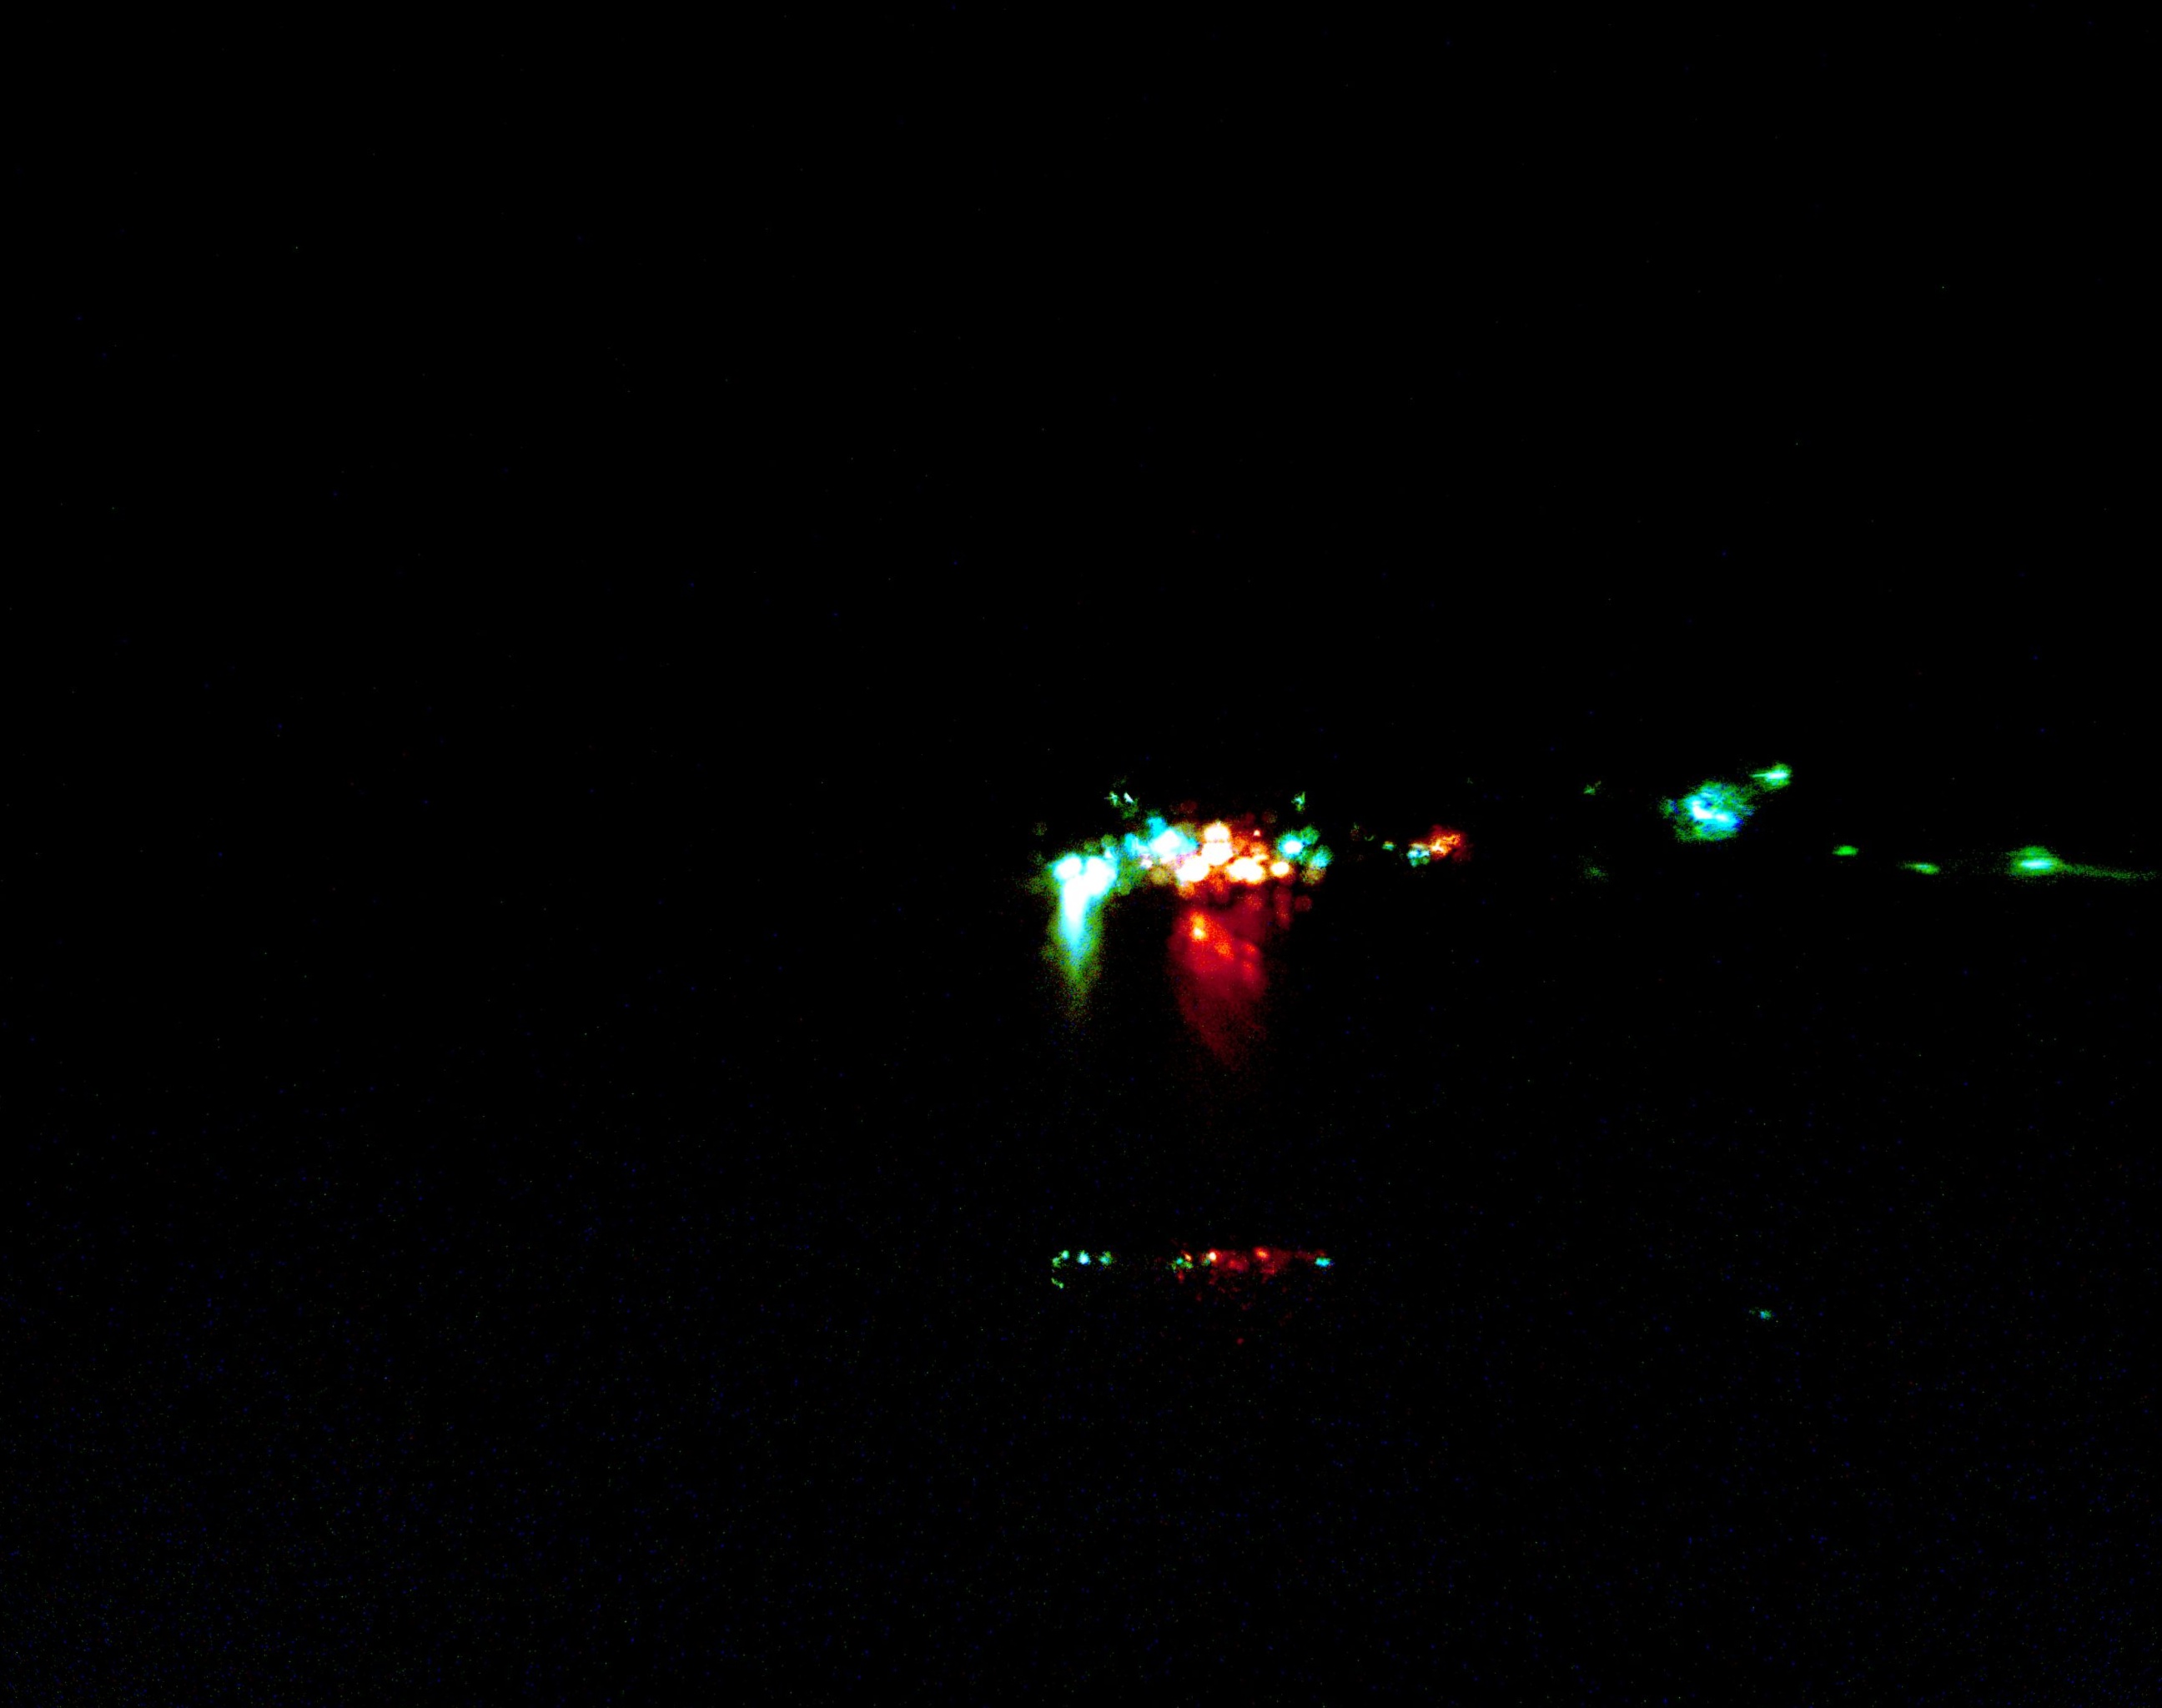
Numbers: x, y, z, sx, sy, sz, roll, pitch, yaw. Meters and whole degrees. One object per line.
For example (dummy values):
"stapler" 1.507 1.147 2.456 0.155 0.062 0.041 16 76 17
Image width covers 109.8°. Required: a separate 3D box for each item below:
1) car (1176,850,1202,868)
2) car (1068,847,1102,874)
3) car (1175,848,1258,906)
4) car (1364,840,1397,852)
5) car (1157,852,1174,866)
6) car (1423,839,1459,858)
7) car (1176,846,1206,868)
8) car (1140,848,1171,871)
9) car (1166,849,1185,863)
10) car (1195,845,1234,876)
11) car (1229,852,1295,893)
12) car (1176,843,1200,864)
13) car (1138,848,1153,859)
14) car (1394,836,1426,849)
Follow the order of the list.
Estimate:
"car" 9.893 0.412 70.078 2.186 1.549 5.206 -1 0 6
"car" 0.330 0.411 50.967 1.878 1.579 4.889 -2 1 4
"car" 4.100 0.645 23.674 1.928 1.606 4.085 -2 0 2
"car" 42.552 -1.144 108.015 2.002 1.582 3.992 -2 0 -26
"car" 10.981 0.589 98.944 1.998 1.736 4.500 -2 0 6
"car" 44.754 -0.707 94.573 1.998 2.294 6.023 -2 0 5
"car" 8.293 0.227 57.672 2.088 1.533 4.900 -1 0 6
"car" 5.562 0.375 56.478 2.115 1.566 4.681 -2 0 7
"car" 10.721 0.195 86.381 1.970 1.520 3.689 -2 0 6
"car" 8.464 0.383 48.547 1.997 1.854 5.321 -1 0 6
"car" 6.955 0.667 29.629 1.807 1.375 4.773 -2 0 6
"car" 10.858 -0.044 77.344 2.158 2.002 4.996 -2 0 5
"car" 9.343 -0.091 109.700 1.961 1.562 4.466 -2 1 3
"car" 44.322 -1.495 102.539 1.851 1.683 4.445 -2 0 -8
